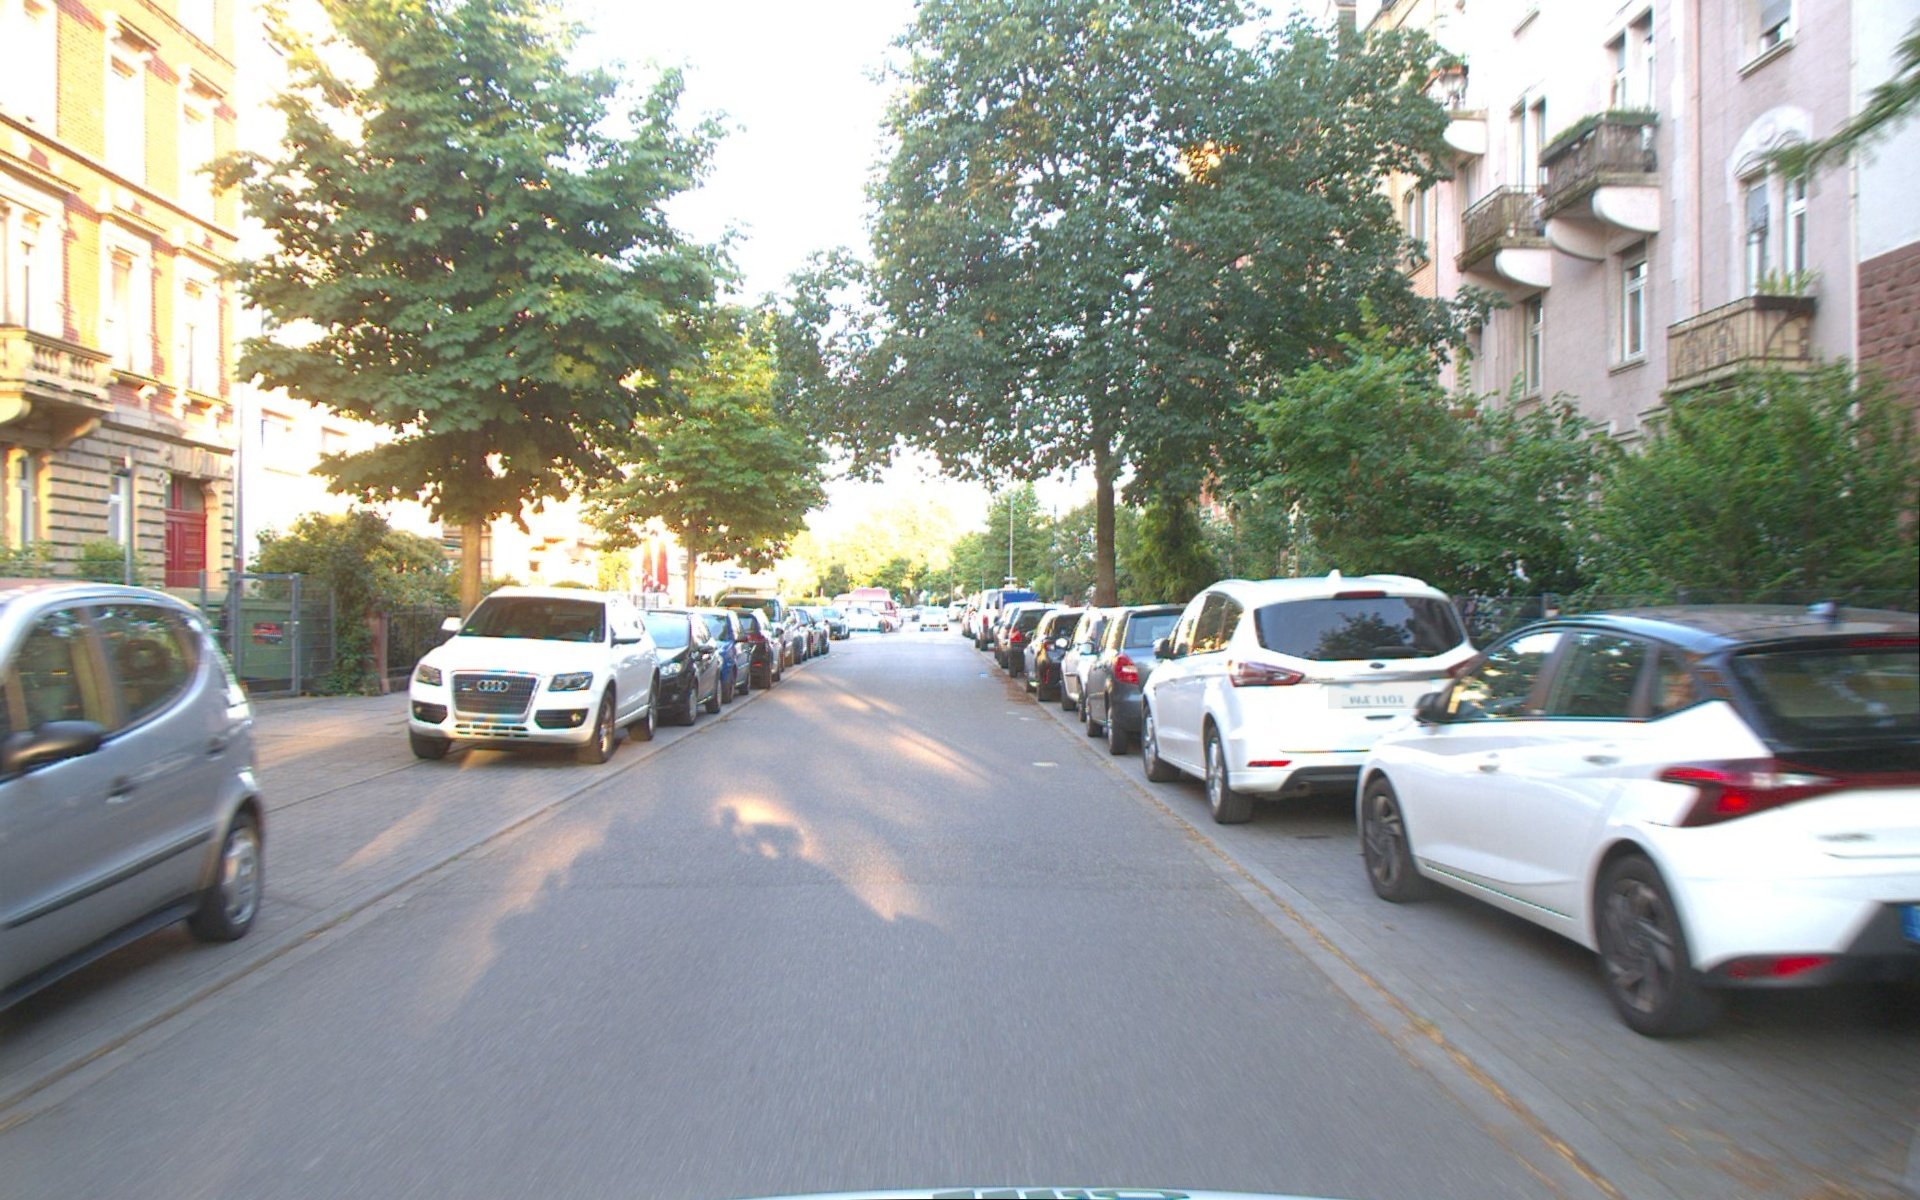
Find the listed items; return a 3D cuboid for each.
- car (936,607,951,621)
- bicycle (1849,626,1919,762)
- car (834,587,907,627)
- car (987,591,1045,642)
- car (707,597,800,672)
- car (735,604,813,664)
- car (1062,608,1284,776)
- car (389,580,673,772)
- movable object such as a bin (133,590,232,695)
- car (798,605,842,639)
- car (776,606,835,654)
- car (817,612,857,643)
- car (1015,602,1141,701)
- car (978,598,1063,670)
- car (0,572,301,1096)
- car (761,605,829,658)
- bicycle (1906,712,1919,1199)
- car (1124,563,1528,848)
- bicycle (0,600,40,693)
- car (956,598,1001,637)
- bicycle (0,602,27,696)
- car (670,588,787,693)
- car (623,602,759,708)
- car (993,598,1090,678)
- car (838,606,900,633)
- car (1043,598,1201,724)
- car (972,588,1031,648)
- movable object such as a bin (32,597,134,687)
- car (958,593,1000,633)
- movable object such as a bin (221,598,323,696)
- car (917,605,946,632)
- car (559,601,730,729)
[{"bbox_3d":[-1.992,1.610,195.356,1.681,1.624,3.482,0,0,-1],"label":"car"},{"bbox_3d":[7.984,0.739,13.332,1.479,1.052,0.330,-1,1,-4],"label":"bicycle"},{"bbox_3d":[-5.315,0.397,98.332,4.263,2.359,1.744,0,0,-3],"label":"car"},{"bbox_3d":[1.746,0.526,52.351,1.508,1.548,3.429,0,-1,-4],"label":"car"},{"bbox_3d":[-4.717,0.752,38.320,1.681,1.624,4.517,0,0,-1],"label":"car"},{"bbox_3d":[-4.829,0.858,43.345,1.681,1.490,3.986,0,0,-1],"label":"car"},{"bbox_3d":[2.212,0.913,18.228,1.653,1.634,4.206,0,-1,-4],"label":"car"},{"bbox_3d":[-4.285,0.686,17.261,1.882,1.747,4.426,0,0,-1],"label":"car"},{"bbox_3d":[-11.190,0.600,23.833,1.078,1.439,1.001,2,0,-15],"label":"movable object such as a bin"},{"bbox_3d":[-6.361,1.007,75.472,1.681,1.512,3.630,0,-1,0],"label":"car"},{"bbox_3d":[-4.935,0.949,53.331,1.566,1.466,3.837,0,0,0],"label":"car"},{"bbox_3d":[-6.014,1.323,81.098,1.681,1.466,3.630,0,0,0],"label":"car"},{"bbox_3d":[1.904,0.815,27.788,1.653,1.466,4.208,-2,0,-2],"label":"car"},{"bbox_3d":[1.417,0.801,39.988,1.653,1.634,3.936,0,-1,-4],"label":"car"},{"bbox_3d":[-3.843,0.720,6.107,1.564,1.631,3.741,0,0,-5],"label":"car"},{"bbox_3d":[-4.734,0.878,47.763,1.681,1.466,3.629,0,0,-1],"label":"car"},{"bbox_3d":[2.353,0.885,3.487,0.434,1.193,1.635,0,0,23],"label":"bicycle"},{"bbox_3d":[2.500,0.665,12.523,1.762,1.741,4.597,0,0,-4],"label":"car"},{"bbox_3d":[-13.925,0.583,22.349,2.484,1.212,0.641,3,0,-12],"label":"bicycle"},{"bbox_3d":[0.791,0.751,71.874,1.653,1.634,3.936,0,-1,-4],"label":"car"},{"bbox_3d":[-13.819,0.593,21.837,2.484,1.212,0.641,3,0,-12],"label":"bicycle"},{"bbox_3d":[-4.258,0.702,31.008,1.681,1.821,4.214,0,0,-1],"label":"car"},{"bbox_3d":[-4.327,0.840,27.131,1.681,1.594,3.787,0,0,-1],"label":"car"},{"bbox_3d":[1.714,0.804,35.874,1.653,1.634,3.936,0,-1,-4],"label":"car"},{"bbox_3d":[-5.303,1.123,95.755,3.548,1.487,1.605,0,0,-5],"label":"car"},{"bbox_3d":[2.209,0.816,23.421,1.653,1.634,3.745,0,-1,-4],"label":"car"},{"bbox_3d":[1.365,0.608,56.113,1.647,1.975,3.877,0,-1,-4],"label":"car"},{"bbox_3d":[-12.781,0.605,24.147,1.078,1.230,1.001,2,0,-15],"label":"movable object such as a bin"},{"bbox_3d":[0.844,0.604,76.733,1.653,1.843,3.936,0,-1,-4],"label":"car"},{"bbox_3d":[-9.983,0.667,24.031,0.991,1.344,1.005,2,0,3],"label":"movable object such as a bin"},{"bbox_3d":[-1.812,1.156,104.280,1.776,1.624,3.482,0,0,-1],"label":"car"},{"bbox_3d":[-4.204,0.837,22.566,1.681,1.594,3.780,0,-1,-1],"label":"car"}]
